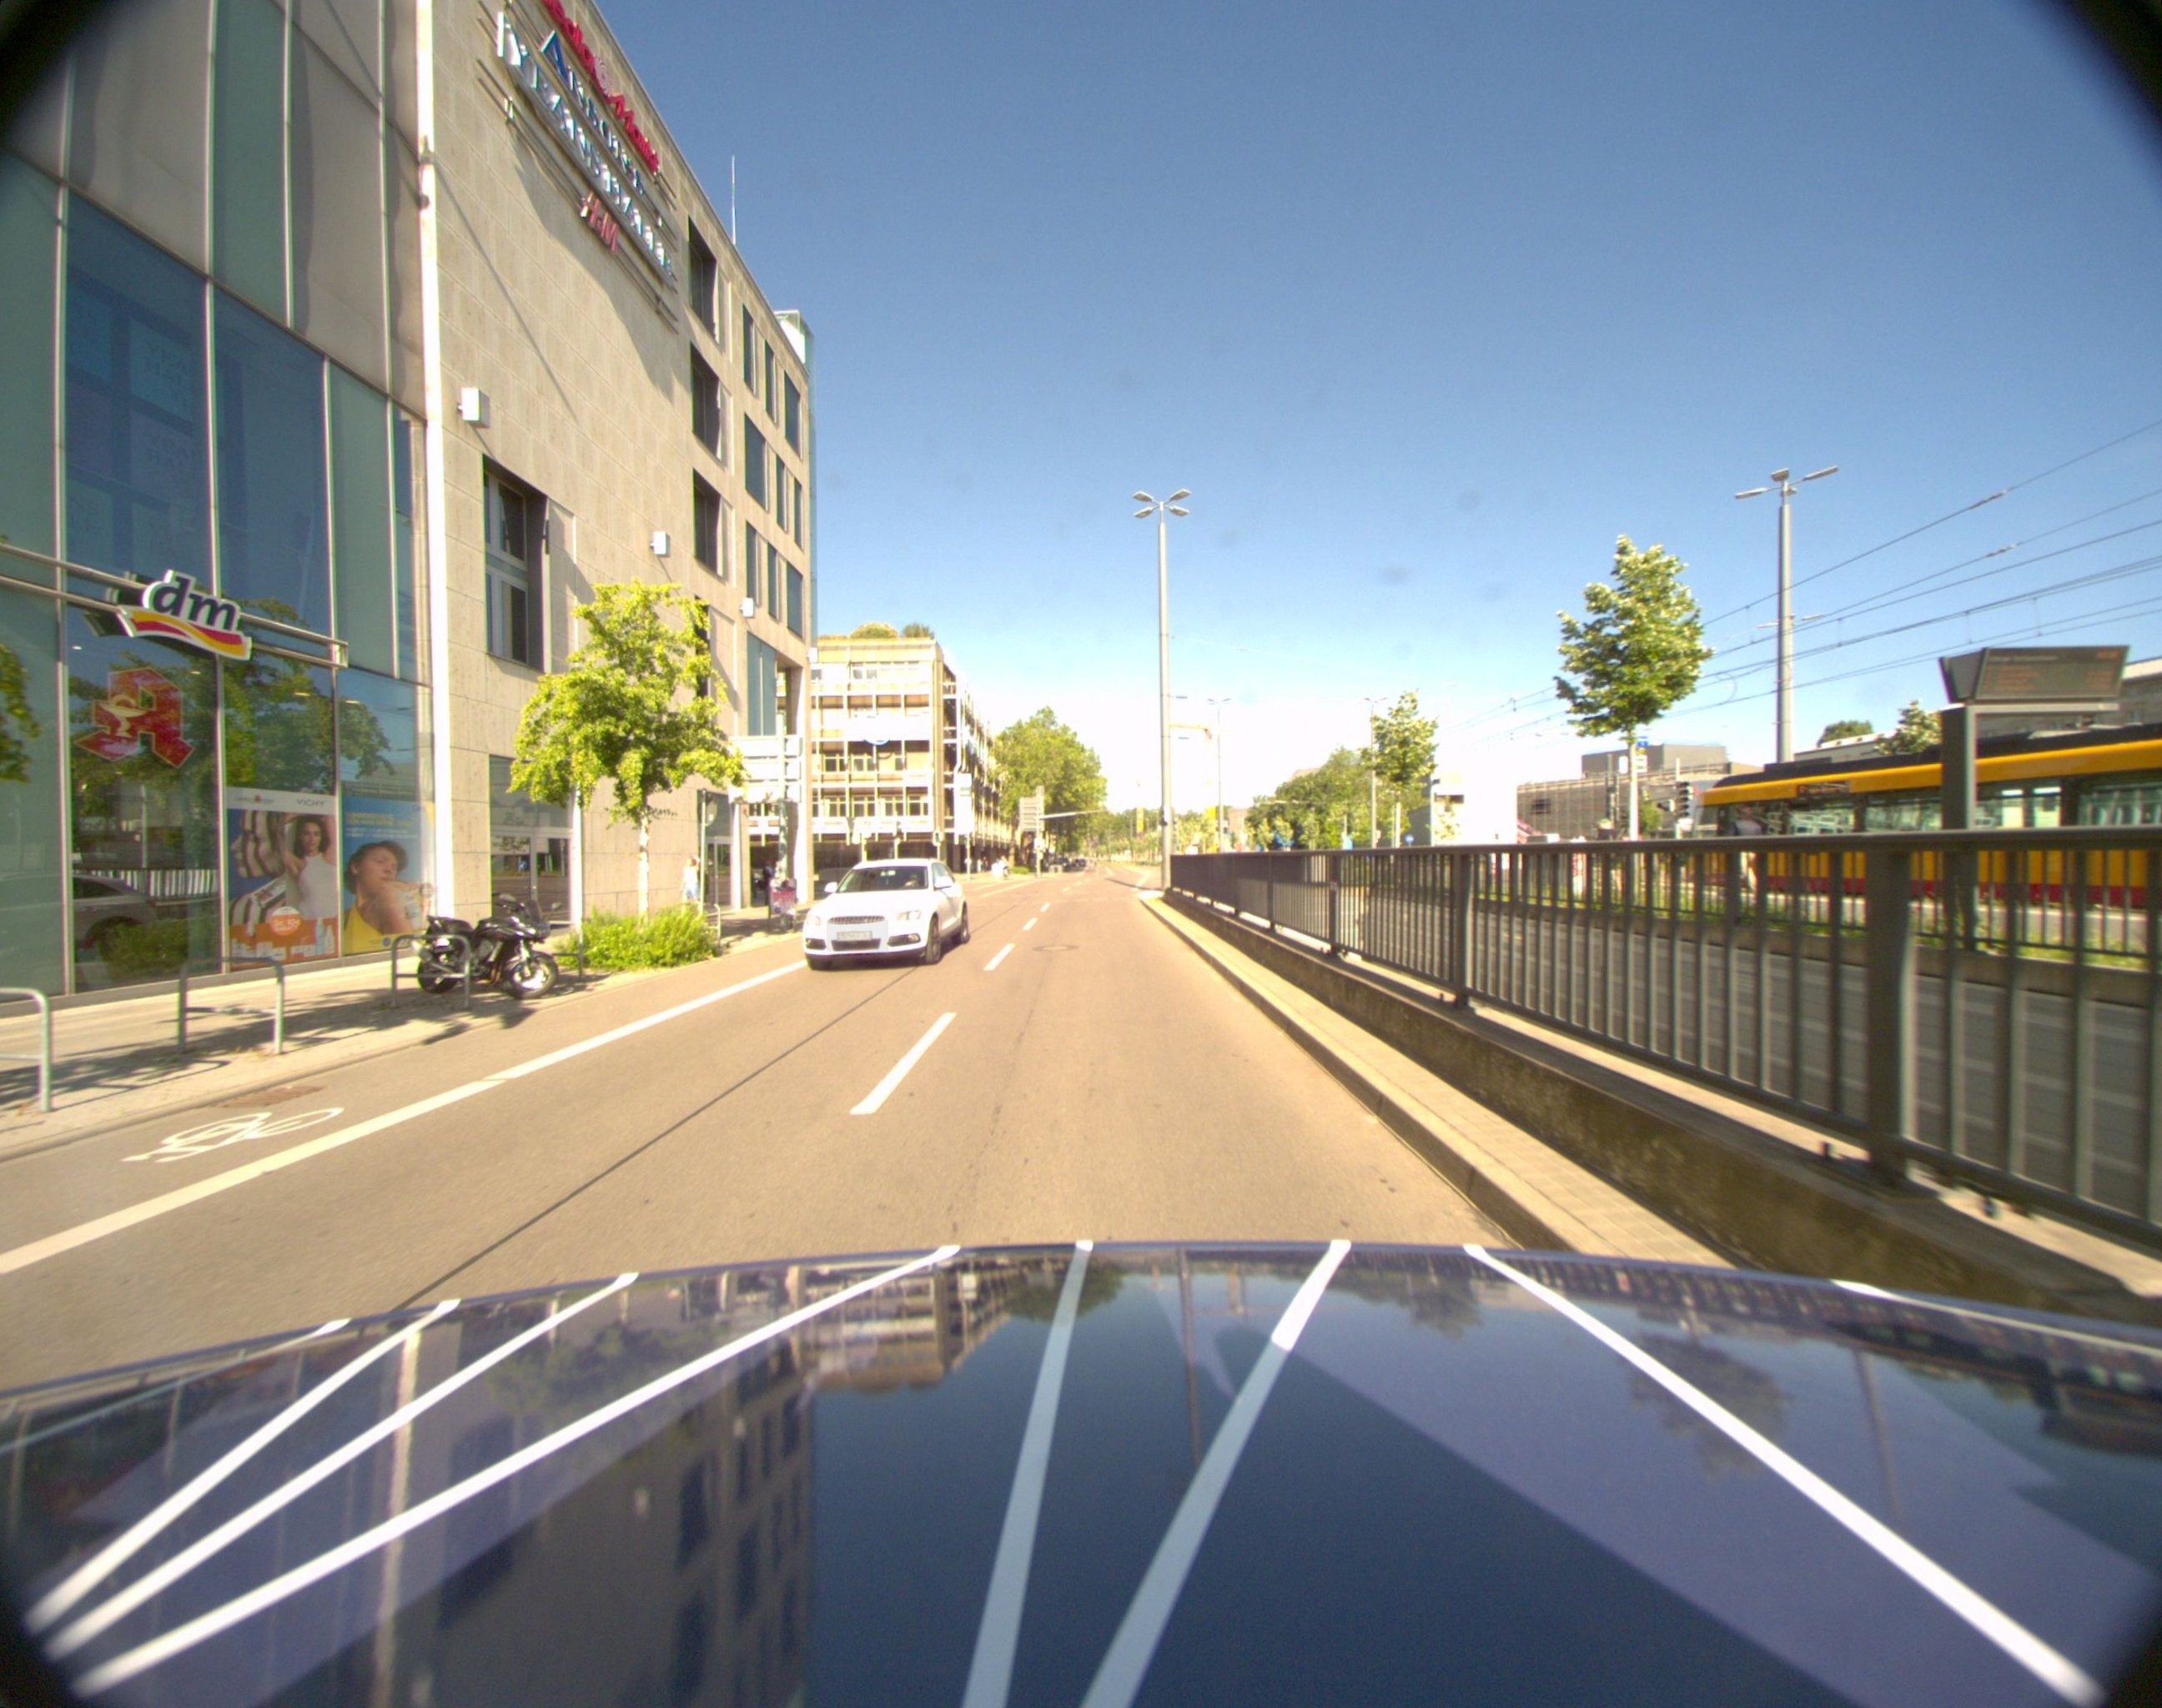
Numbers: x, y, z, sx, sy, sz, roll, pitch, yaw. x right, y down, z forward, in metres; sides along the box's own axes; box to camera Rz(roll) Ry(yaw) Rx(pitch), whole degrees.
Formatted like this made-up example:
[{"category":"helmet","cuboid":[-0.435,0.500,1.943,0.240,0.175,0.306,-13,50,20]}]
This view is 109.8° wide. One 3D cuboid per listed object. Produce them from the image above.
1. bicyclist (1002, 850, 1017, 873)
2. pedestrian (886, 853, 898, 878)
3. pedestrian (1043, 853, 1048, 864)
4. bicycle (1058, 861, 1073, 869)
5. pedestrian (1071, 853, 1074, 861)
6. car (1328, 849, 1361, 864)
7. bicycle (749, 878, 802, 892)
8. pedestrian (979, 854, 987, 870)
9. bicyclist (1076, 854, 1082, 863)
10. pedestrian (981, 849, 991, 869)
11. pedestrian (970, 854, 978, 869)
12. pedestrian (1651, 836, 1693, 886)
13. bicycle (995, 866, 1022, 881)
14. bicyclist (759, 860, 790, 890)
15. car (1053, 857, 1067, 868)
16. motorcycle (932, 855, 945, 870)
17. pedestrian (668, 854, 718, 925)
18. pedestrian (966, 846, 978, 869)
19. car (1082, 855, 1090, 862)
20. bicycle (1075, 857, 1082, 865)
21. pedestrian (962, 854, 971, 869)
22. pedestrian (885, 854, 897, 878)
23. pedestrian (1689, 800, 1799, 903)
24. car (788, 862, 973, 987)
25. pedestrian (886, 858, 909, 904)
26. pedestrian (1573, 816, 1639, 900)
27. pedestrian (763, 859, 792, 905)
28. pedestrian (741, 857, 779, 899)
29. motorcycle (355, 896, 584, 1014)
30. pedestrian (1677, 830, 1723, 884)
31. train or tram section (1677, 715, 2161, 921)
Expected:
[{"category":"bicyclist","cuboid":[-5.445,0.561,57.711,0.853,1.677,0.710,-3,0,-30]},{"category":"pedestrian","cuboid":[-12.205,0.763,49.060,0.662,1.603,0.526,1,1,-8]},{"category":"pedestrian","cuboid":[-6.259,0.762,134.519,0.741,2.002,0.626,-1,0,0]},{"category":"bicycle","cuboid":[-1.894,1.338,94.661,1.848,0.954,0.711,1,0,-3]},{"category":"pedestrian","cuboid":[-2.035,0.669,178.970,0.591,1.830,0.569,-1,0,1]},{"category":"car","cuboid":[28.347,0.288,81.876,1.998,1.552,4.831,-1,0,3]},{"category":"bicycle","cuboid":[-15.108,1.531,37.601,2.197,0.667,1.072,-1,0,5]},{"category":"pedestrian","cuboid":[-10.238,0.828,79.322,0.667,1.591,0.728,1,0,2]},{"category":"bicyclist","cuboid":[-0.367,0.682,115.630,0.830,1.380,0.904,-1,0,2]},{"category":"pedestrian","cuboid":[-9.708,0.482,77.319,0.949,2.002,1.079,-1,0,-6]},{"category":"pedestrian","cuboid":[-11.231,0.796,79.554,0.667,1.591,0.728,1,0,2]},{"category":"pedestrian","cuboid":[22.043,0.268,28.352,0.802,1.812,0.976,-1,0,-1]},{"category":"bicycle","cuboid":[-5.496,1.474,57.654,1.926,0.987,0.710,-3,0,-30]},{"category":"bicyclist","cuboid":[-15.155,1.028,37.587,1.024,1.467,1.072,-1,0,5]},{"category":"car","cuboid":[-2.798,1.135,102.823,1.752,1.481,4.560,0,0,1]},{"category":"motorcycle","cuboid":[-14.326,0.832,76.545,0.825,1.433,2.122,-1,0,2]},{"category":"pedestrian","cuboid":[-10.034,0.895,19.694,0.729,1.791,1.066,1,1,1]},{"category":"pedestrian","cuboid":[-9.755,0.296,67.996,0.950,2.002,1.078,-1,0,-10]},{"category":"car","cuboid":[1.206,1.083,189.273,1.999,1.597,3.896,-1,0,0]},{"category":"bicycle","cuboid":[-0.370,1.031,115.629,0.845,1.123,2.553,-1,0,2]},{"category":"pedestrian","cuboid":[-12.011,0.799,79.684,0.667,1.591,1.009,1,0,2]},{"category":"pedestrian","cuboid":[-12.413,0.776,49.683,0.662,1.603,0.526,1,1,-8]},{"category":"pedestrian","cuboid":[12.048,-0.033,13.853,0.876,1.764,1.189,-3,0,-2]},{"category":"car","cuboid":[-3.074,0.995,12.669,1.824,1.604,4.412,-2,0,1]},{"category":"pedestrian","cuboid":[-6.912,1.018,28.691,0.658,1.692,0.698,2,0,-1]},{"category":"pedestrian","cuboid":[11.551,0.085,16.745,0.705,1.764,0.959,-3,0,-2]},{"category":"pedestrian","cuboid":[-10.910,0.999,27.346,0.725,1.598,0.750,-1,0,2]},{"category":"pedestrian","cuboid":[-14.133,1.027,33.467,0.969,1.791,1.523,1,0,1]},{"category":"motorcycle","cuboid":[-7.580,1.218,9.483,2.193,1.316,0.903,0,1,5]},{"category":"pedestrian","cuboid":[21.387,0.115,26.267,0.802,1.812,0.976,-1,0,-1]},{"category":"train or tram section","cuboid":[18.762,-0.635,15.561,2.877,3.290,13.073,-3,0,1]}]
